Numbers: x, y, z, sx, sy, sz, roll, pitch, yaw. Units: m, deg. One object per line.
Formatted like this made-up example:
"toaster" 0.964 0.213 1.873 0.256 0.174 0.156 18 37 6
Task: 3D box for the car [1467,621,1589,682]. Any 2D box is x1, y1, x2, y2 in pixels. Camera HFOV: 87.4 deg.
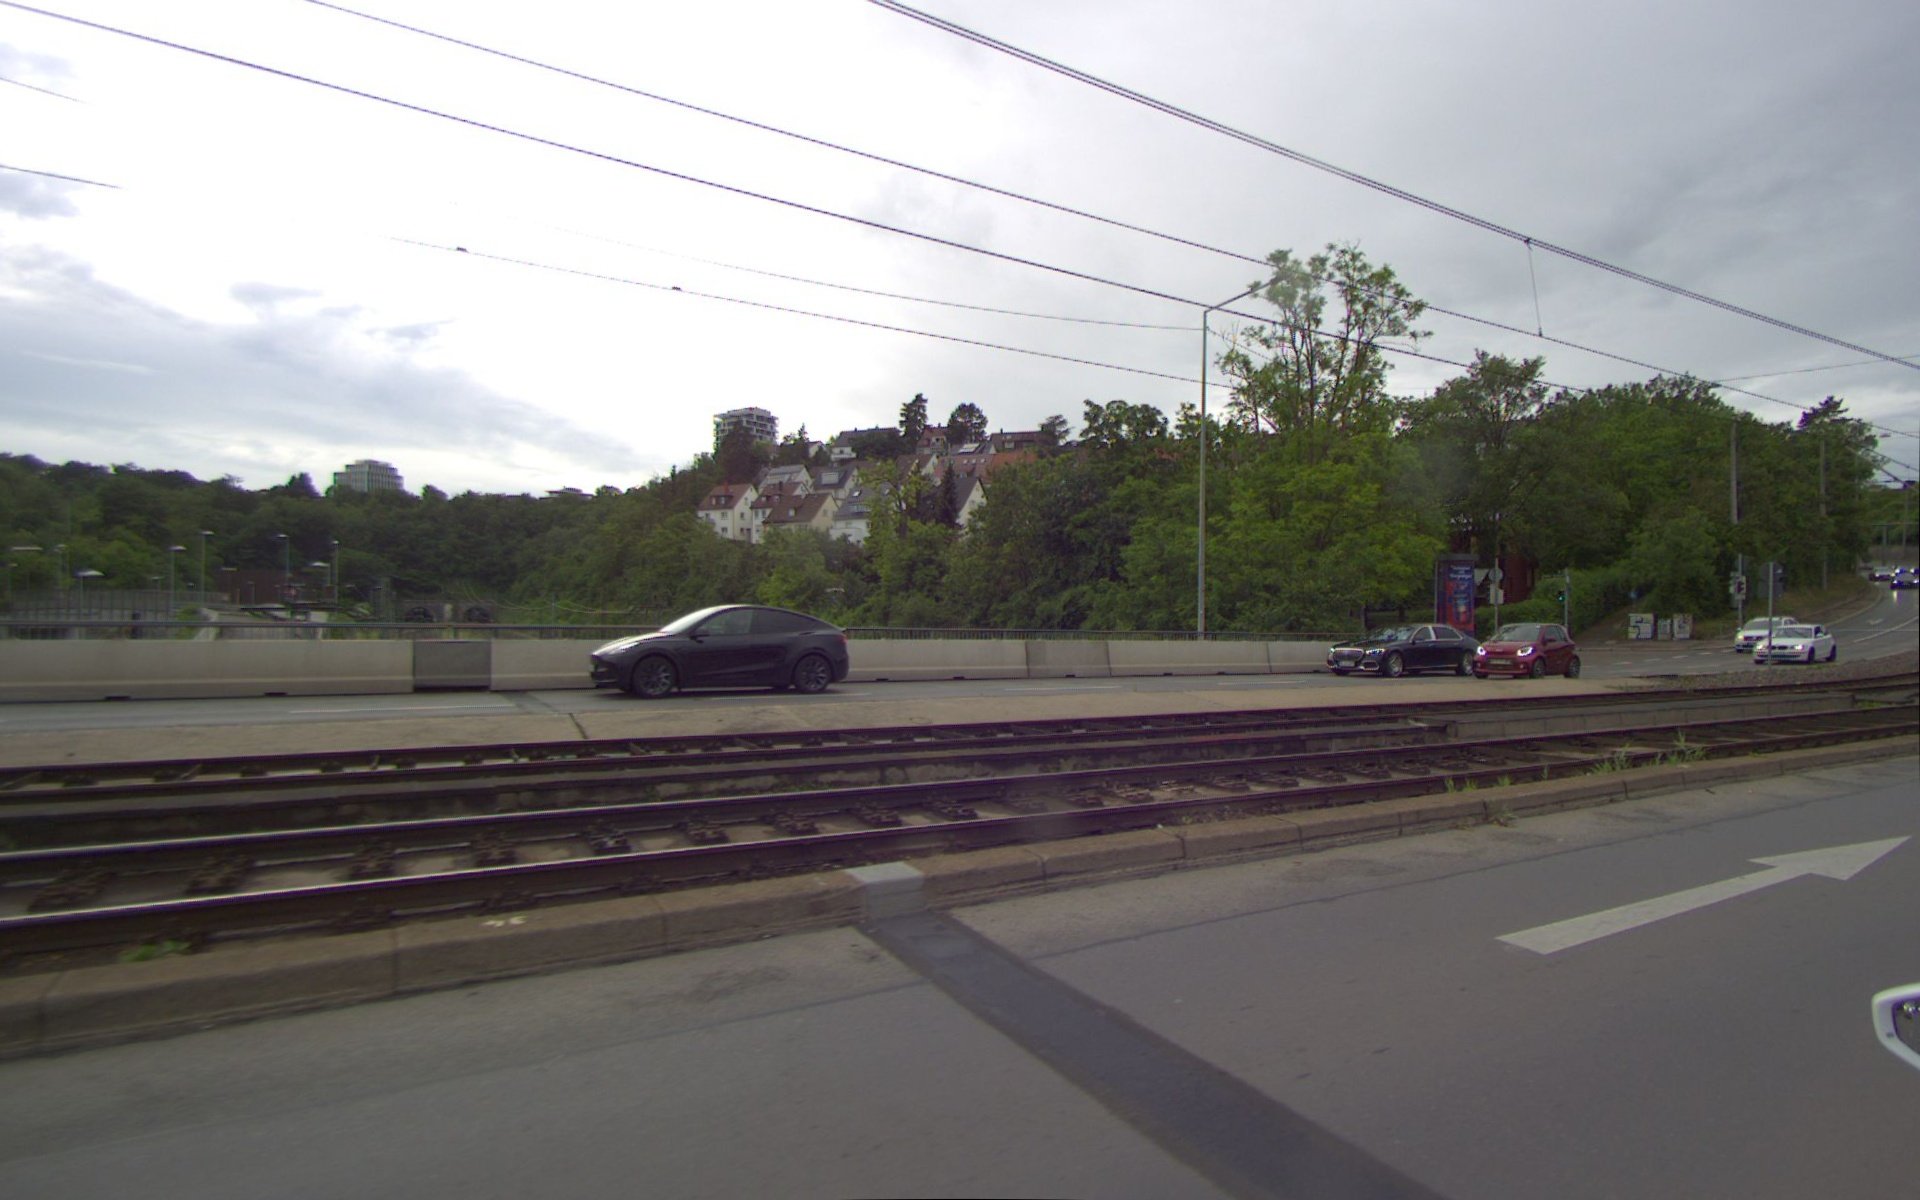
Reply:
"car" 15.249 1.343 26.962 2.983 1.513 1.593 0 -1 -31

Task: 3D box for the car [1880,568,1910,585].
"car" 88.546 -2.216 95.142 1.695 1.478 4.257 -2 0 38

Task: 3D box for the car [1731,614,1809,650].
"car" 37.050 1.462 45.907 4.488 1.535 1.807 2 -1 -38

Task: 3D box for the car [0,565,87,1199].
"car" -3.902 0.628 0.832 4.489 1.544 1.861 2 0 -32

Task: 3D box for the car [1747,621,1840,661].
"car" 31.668 1.570 38.119 4.449 1.455 1.718 2 -2 -36

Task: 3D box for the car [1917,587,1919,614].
"car" 58.383 0.026 59.640 4.695 1.618 1.832 1 -1 -41

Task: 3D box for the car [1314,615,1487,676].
"car" 12.667 1.321 28.771 5.125 1.618 1.959 2 -2 -31

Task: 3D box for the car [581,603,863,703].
"car" -4.273 0.898 18.257 4.677 1.618 1.887 1 -1 -31

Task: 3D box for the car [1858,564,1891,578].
"car" 101.685 -3.217 111.705 1.794 1.398 4.693 -2 1 32
